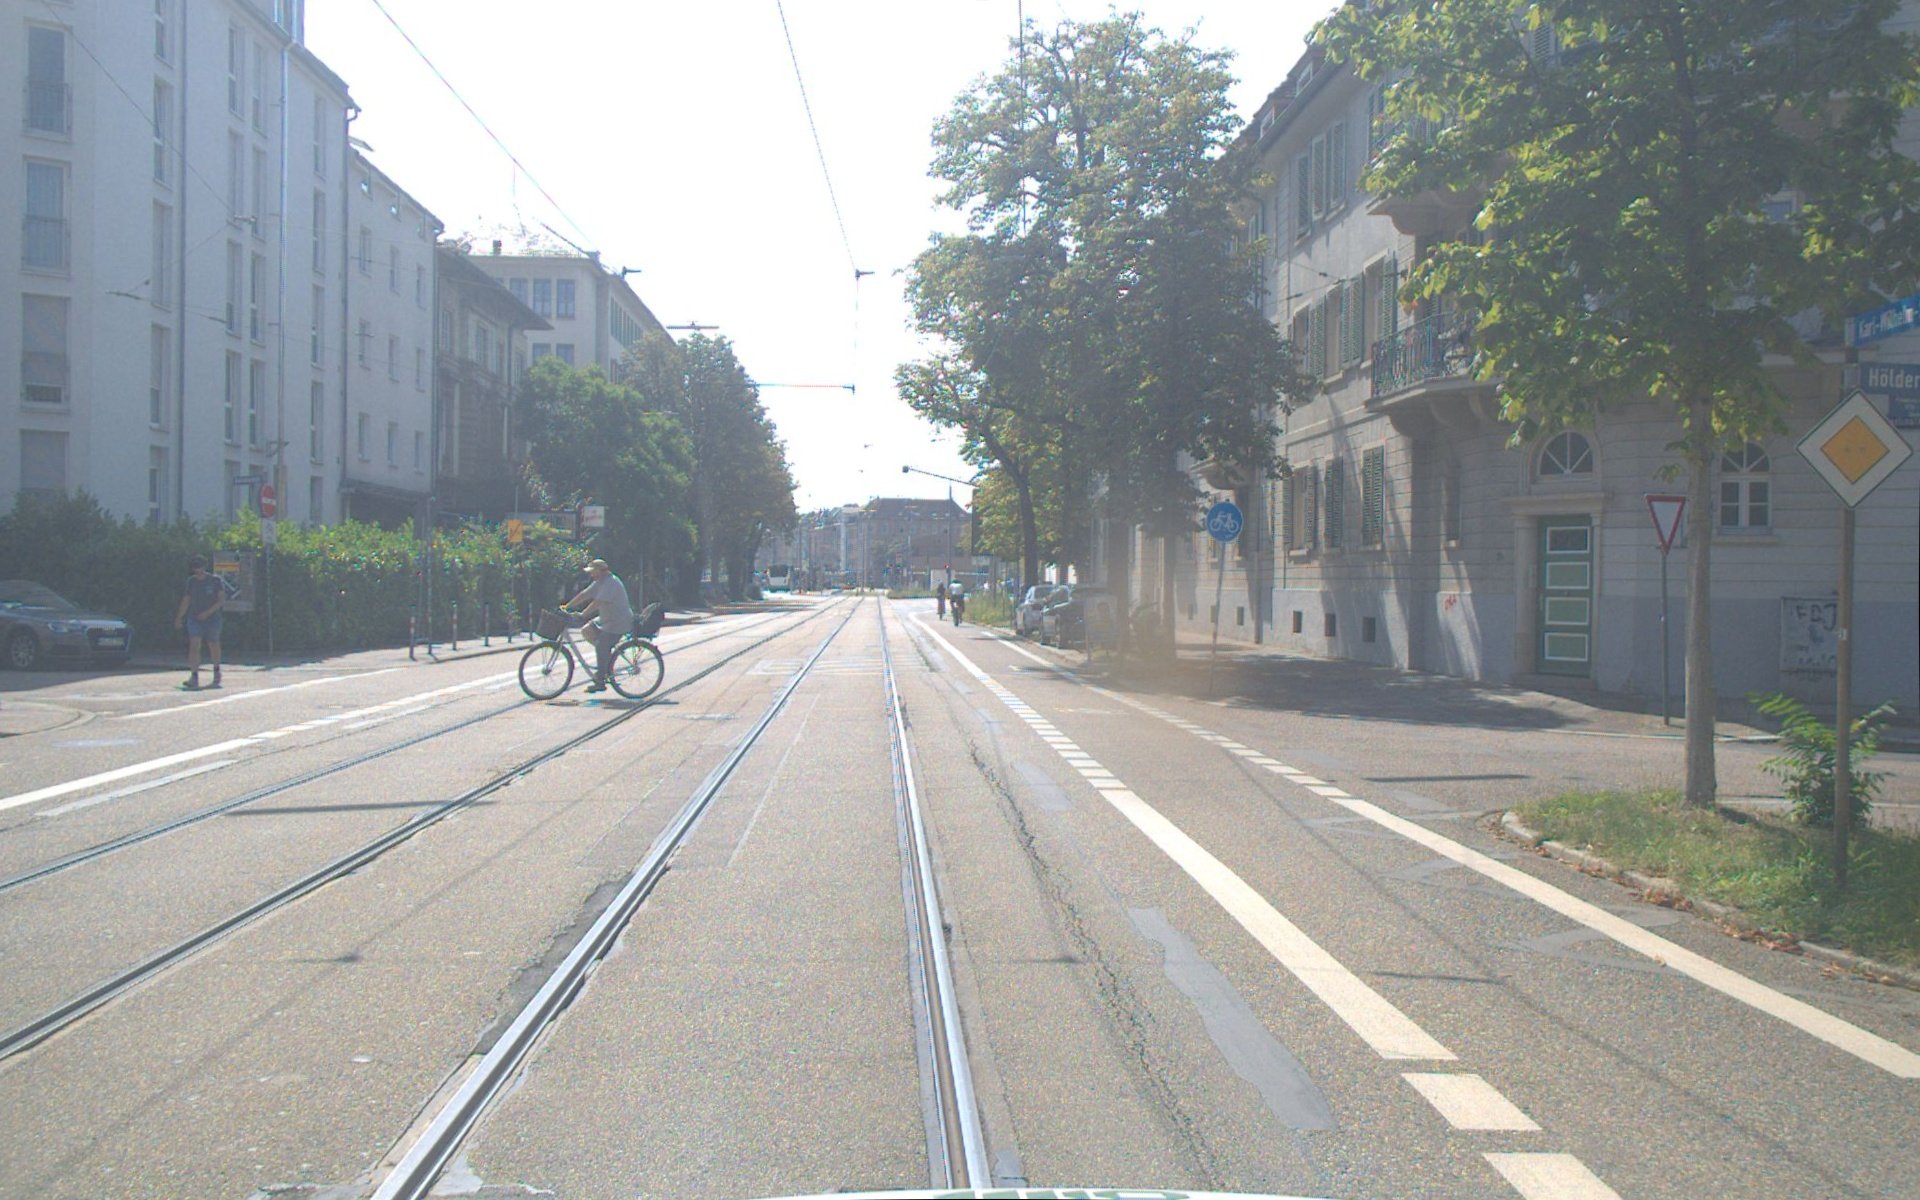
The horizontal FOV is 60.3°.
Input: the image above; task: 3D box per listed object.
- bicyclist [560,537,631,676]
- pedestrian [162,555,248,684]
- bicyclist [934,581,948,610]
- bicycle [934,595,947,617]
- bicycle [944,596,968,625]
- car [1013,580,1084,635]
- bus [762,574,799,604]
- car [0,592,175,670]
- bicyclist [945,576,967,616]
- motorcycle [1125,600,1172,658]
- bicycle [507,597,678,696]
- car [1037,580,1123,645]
[{"bbox_3d":[-4.460,0.075,20.284,0.809,1.671,0.783,1,0,-11],"label":"bicyclist"},{"bbox_3d":[-10.681,0.270,23.422,0.764,1.787,1.040,0,0,-3],"label":"pedestrian"},{"bbox_3d":[-0.847,-0.211,73.768,0.567,1.301,0.471,1,0,-1],"label":"bicyclist"},{"bbox_3d":[-0.855,0.270,73.747,0.576,0.955,2.171,1,0,-1],"label":"bicycle"},{"bbox_3d":[-0.165,0.365,59.778,0.743,1.008,2.296,1,0,-3],"label":"bicycle"},{"bbox_3d":[2.486,0.223,47.167,1.552,1.490,3.463,1,0,-5],"label":"car"},{"bbox_3d":[-21.340,-1.336,197.141,3.661,3.423,15.109,1,0,-3],"label":"bus"},{"bbox_3d":[-15.332,0.484,27.160,4.141,1.205,2.001,0,0,17],"label":"car"},{"bbox_3d":[-0.150,-0.140,59.644,0.743,1.416,0.779,1,0,-3],"label":"bicyclist"},{"bbox_3d":[3.710,0.560,32.693,0.538,1.086,2.329,1,0,-3],"label":"motorcycle"},{"bbox_3d":[-4.482,0.564,20.277,1.998,1.171,0.783,1,0,-12],"label":"bicycle"},{"bbox_3d":[2.838,0.291,39.777,1.552,1.490,3.412,1,0,-5],"label":"car"}]
